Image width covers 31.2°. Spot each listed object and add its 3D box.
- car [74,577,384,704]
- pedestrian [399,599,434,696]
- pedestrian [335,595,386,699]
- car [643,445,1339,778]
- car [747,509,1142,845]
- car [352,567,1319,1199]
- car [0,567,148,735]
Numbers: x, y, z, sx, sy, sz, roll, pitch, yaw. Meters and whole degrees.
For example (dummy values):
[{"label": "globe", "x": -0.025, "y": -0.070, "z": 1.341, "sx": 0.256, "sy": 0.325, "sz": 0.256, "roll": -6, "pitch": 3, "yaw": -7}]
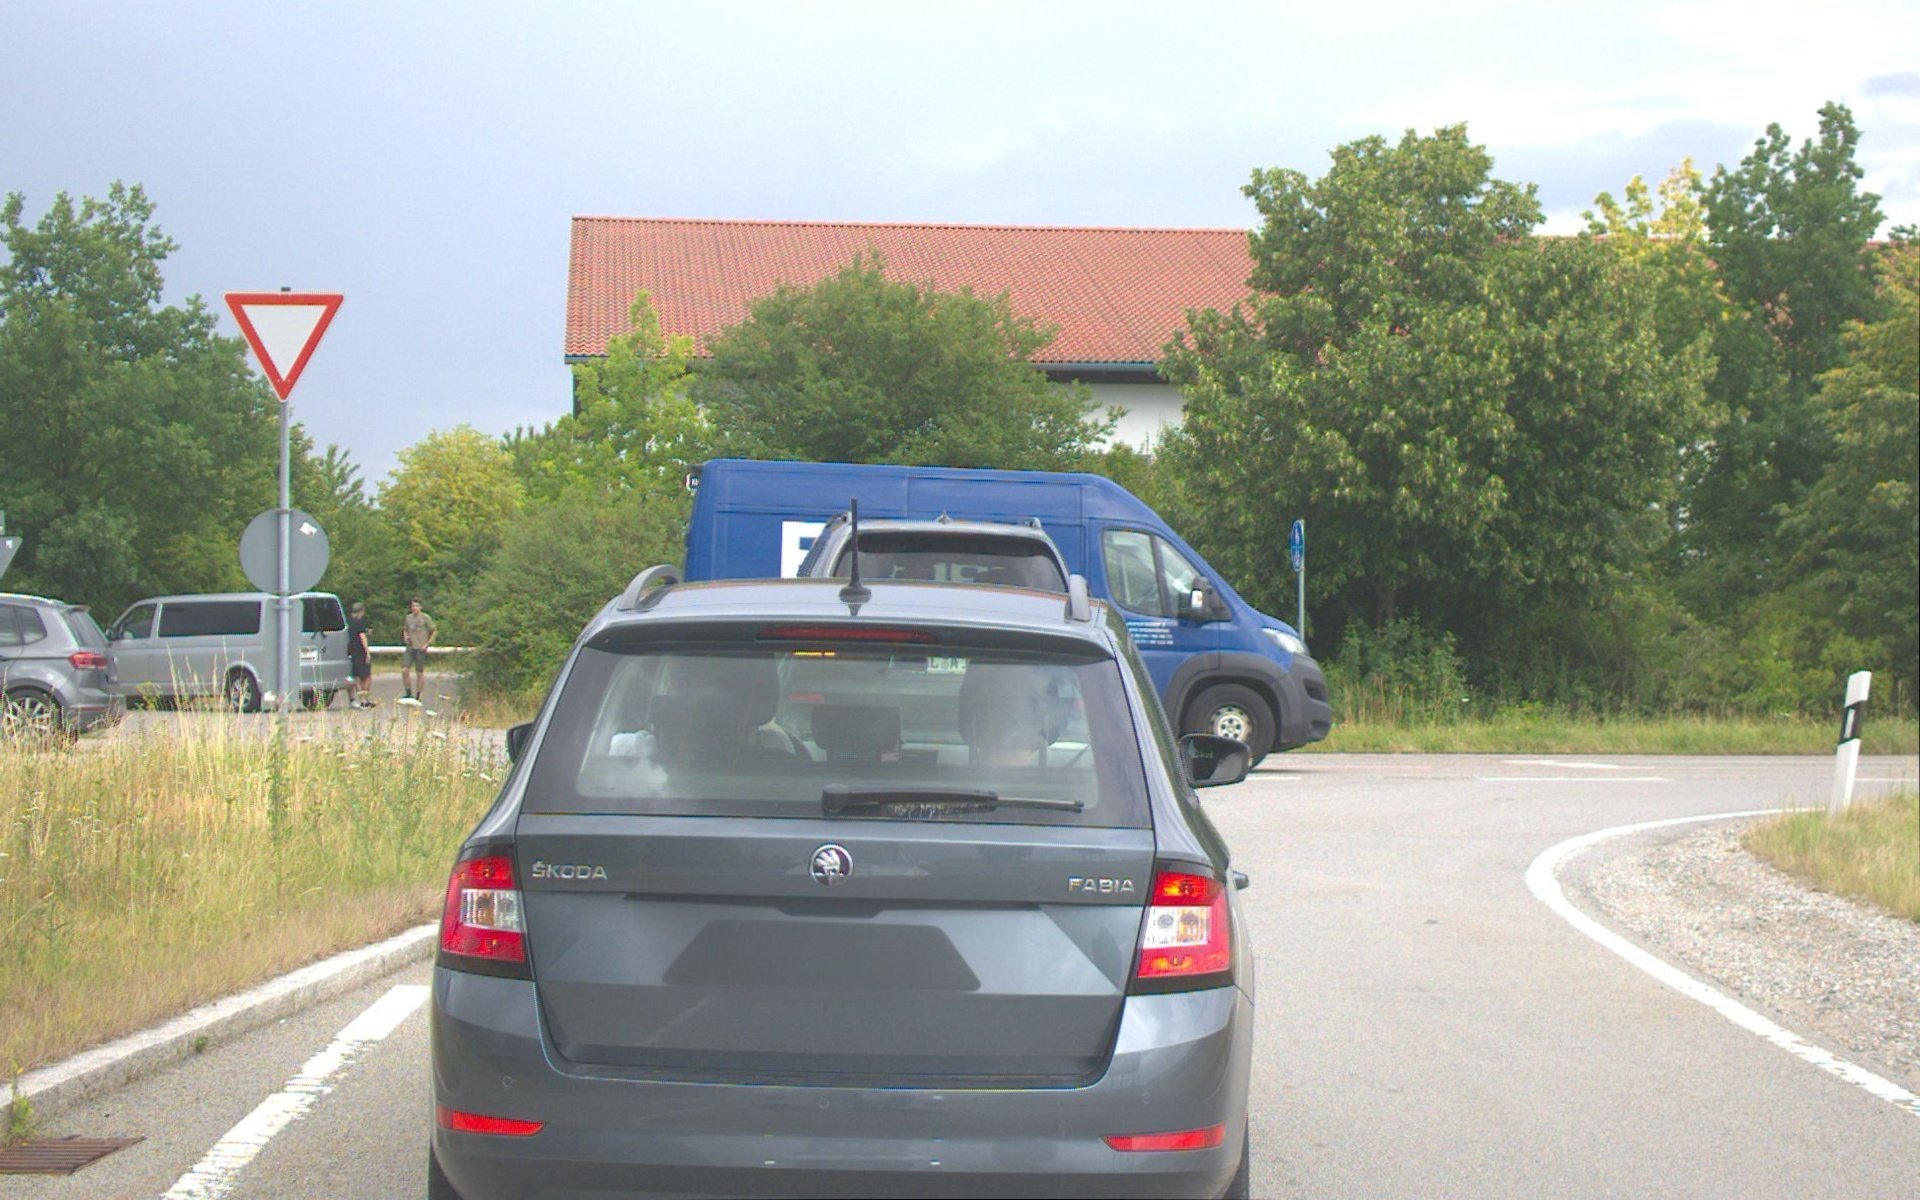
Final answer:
[{"label": "car", "x": -12.347, "y": 0.639, "z": 57.984, "sx": 4.908, "sy": 2.007, "sz": 2.338, "roll": 0, "pitch": 1, "yaw": 34}, {"label": "pedestrian", "x": -9.493, "y": 0.830, "z": 60.052, "sx": 0.583, "sy": 1.677, "sz": 0.566, "roll": 0, "pitch": 1, "yaw": -7}, {"label": "pedestrian", "x": -10.043, "y": 0.787, "z": 57.596, "sx": 0.529, "sy": 1.720, "sz": 0.640, "roll": 0, "pitch": 1, "yaw": 33}, {"label": "car", "x": 0.186, "y": 0.057, "z": 28.575, "sx": 5.551, "sy": 2.630, "sz": 2.150, "roll": 0, "pitch": 1, "yaw": -7}, {"label": "car", "x": -0.220, "y": 0.430, "z": 20.603, "sx": 1.993, "sy": 1.768, "sz": 4.644, "roll": 1, "pitch": -1, "yaw": -5}, {"label": "car", "x": -0.278, "y": 0.674, "z": 7.854, "sx": 1.676, "sy": 1.457, "sz": 3.708, "roll": 1, "pitch": 1, "yaw": -2}, {"label": "car", "x": -10.368, "y": 0.509, "z": 34.198, "sx": 4.209, "sy": 1.596, "sz": 2.000, "roll": -1, "pitch": 1, "yaw": -6}]
